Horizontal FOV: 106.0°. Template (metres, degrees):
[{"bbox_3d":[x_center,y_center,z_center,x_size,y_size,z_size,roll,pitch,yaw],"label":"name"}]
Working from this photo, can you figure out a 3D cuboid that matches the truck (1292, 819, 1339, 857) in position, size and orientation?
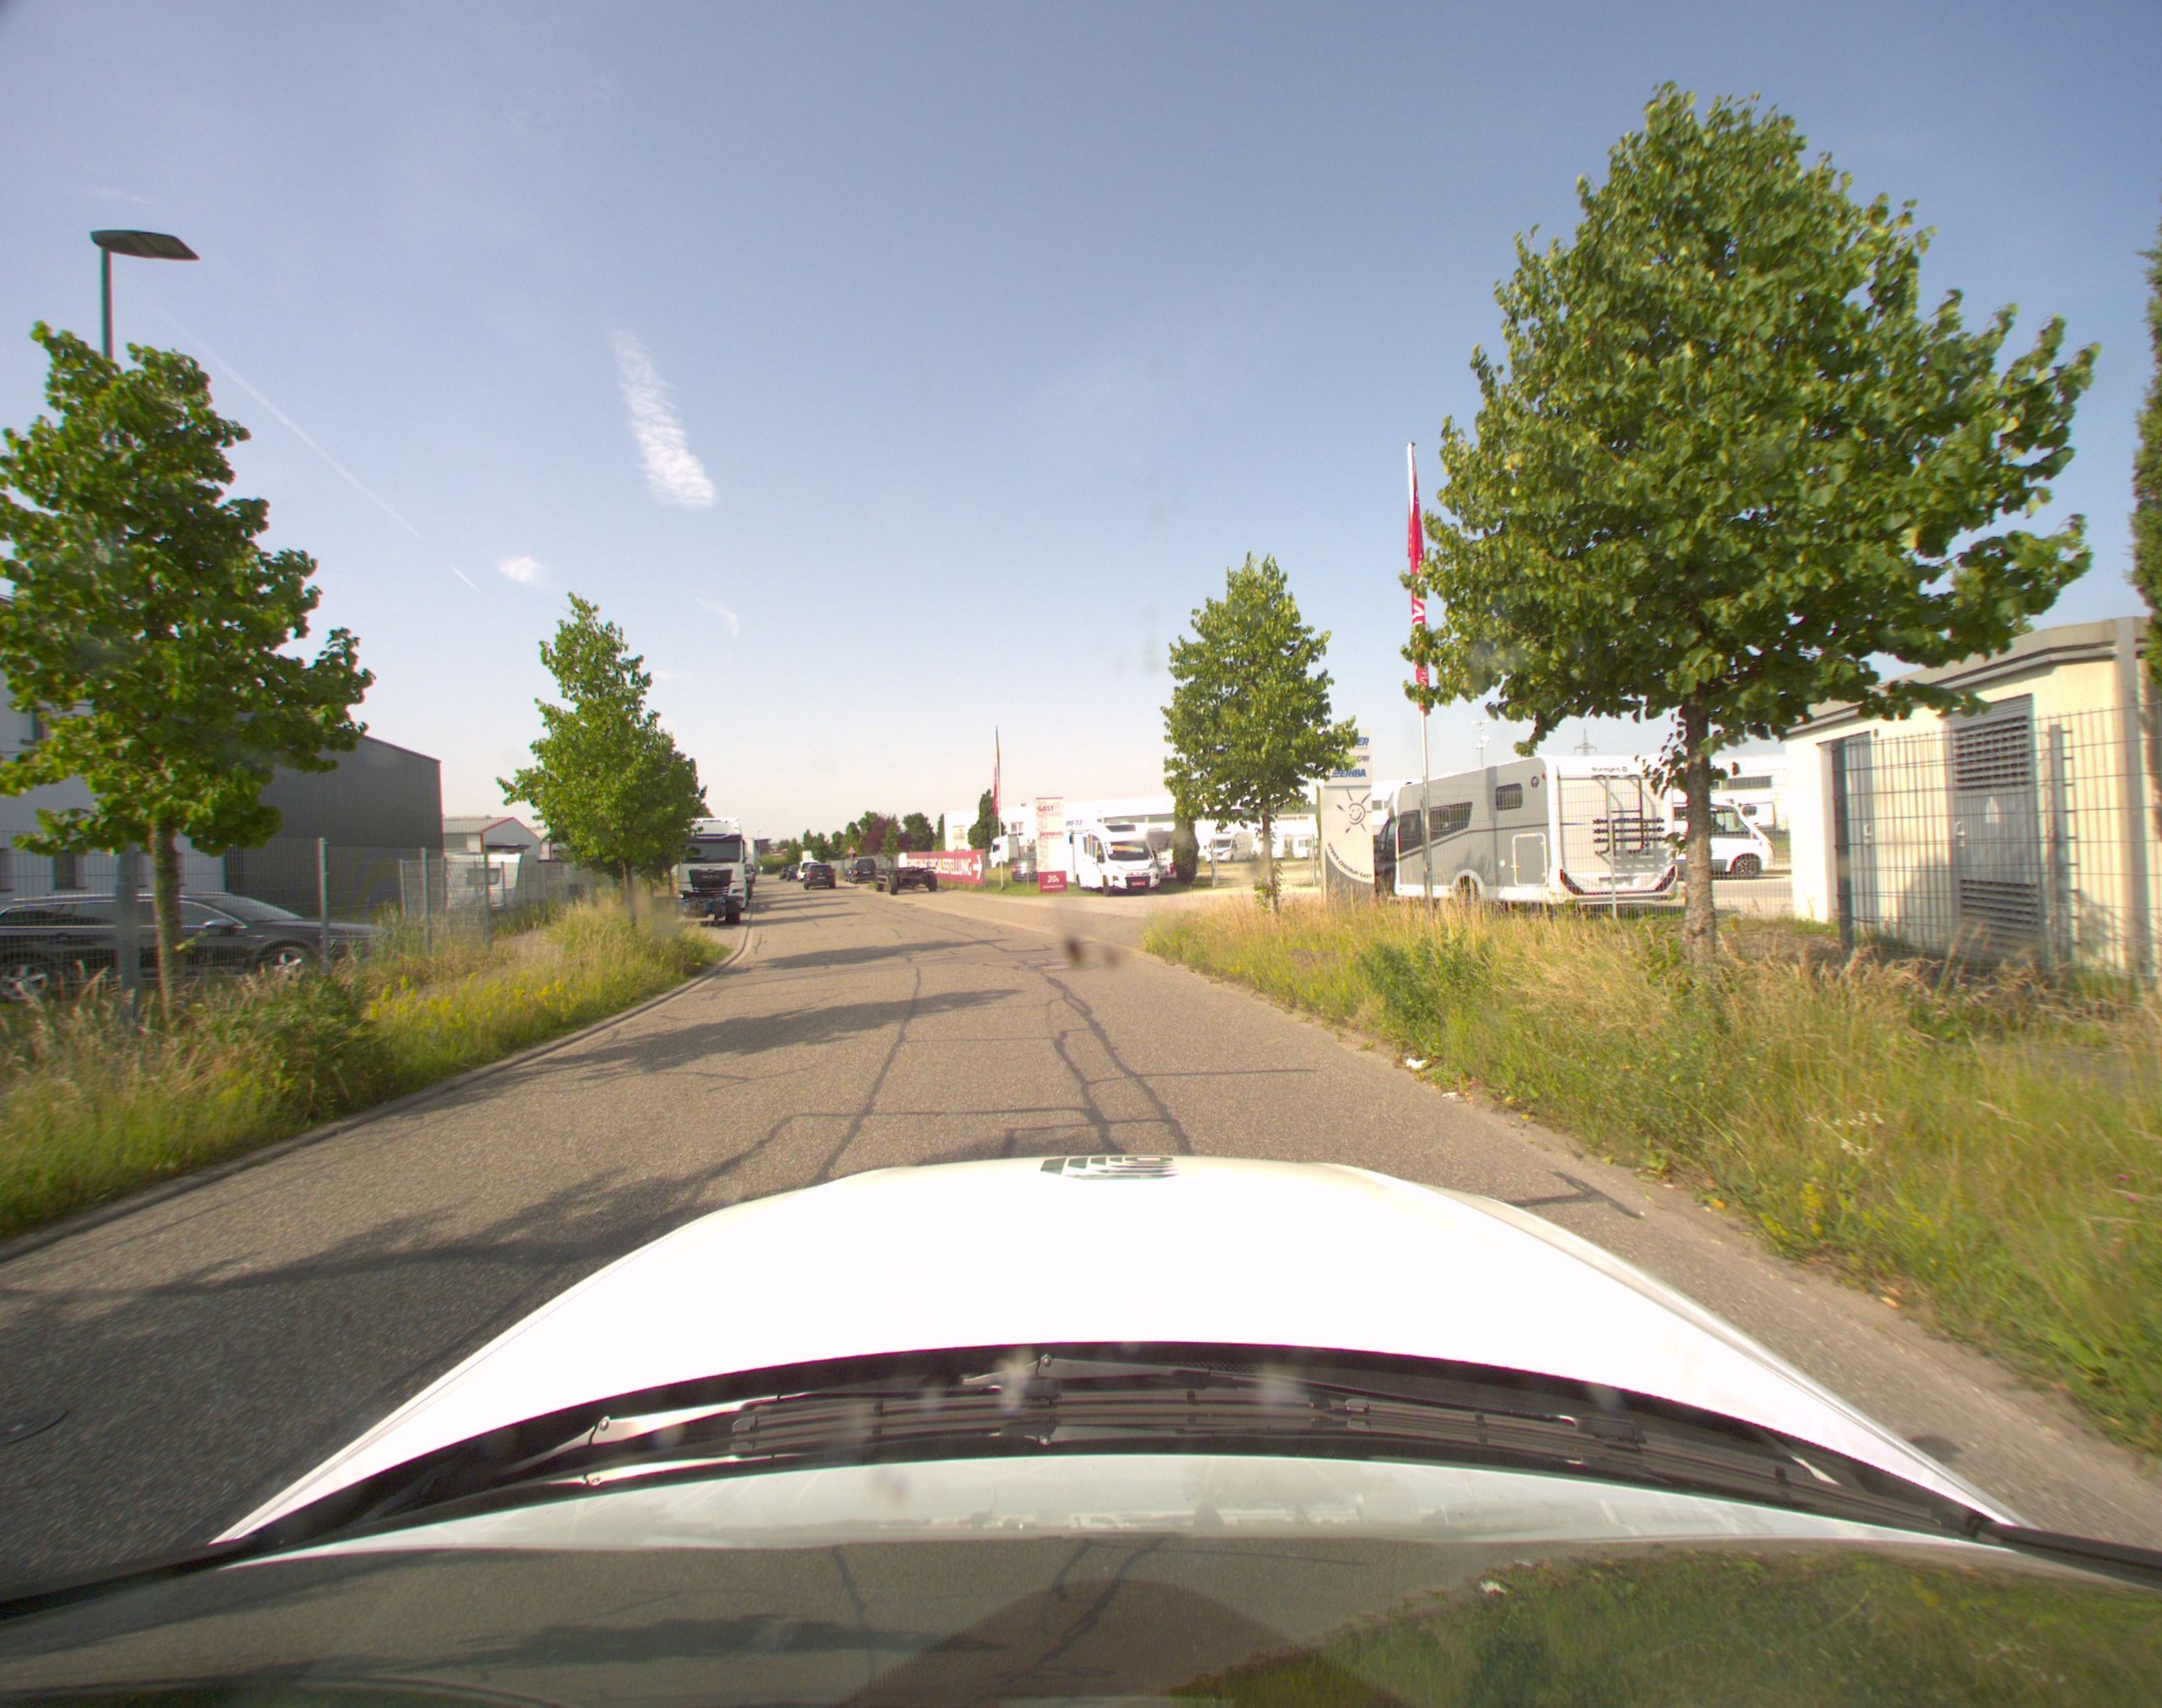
[{"bbox_3d":[19.235,-1.333,66.501,2.428,2.826,8.048,-2,1,24],"label":"truck"}]

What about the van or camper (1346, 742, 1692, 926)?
[{"bbox_3d":[8.204,-0.335,16.634,2.347,2.847,7.323,-2,0,-7],"label":"van or camper"}]

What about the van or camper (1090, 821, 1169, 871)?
[{"bbox_3d":[3.486,-0.648,55.848,2.773,3.084,8.015,-2,1,23],"label":"van or camper"}]

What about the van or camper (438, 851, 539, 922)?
[{"bbox_3d":[-24.163,1.275,33.449,2.317,2.560,4.913,-3,0,-25],"label":"van or camper"}]

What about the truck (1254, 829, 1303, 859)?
[{"bbox_3d":[16.555,-0.917,67.725,2.428,2.265,8.048,-2,1,24],"label":"truck"}]

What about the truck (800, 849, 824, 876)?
[{"bbox_3d":[-39.044,1.217,118.143,2.897,3.586,8.007,-4,1,-20],"label":"truck"}]

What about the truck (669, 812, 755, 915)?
[{"bbox_3d":[-16.821,0.420,37.880,2.635,3.929,12.829,-2,0,-20],"label":"truck"}]

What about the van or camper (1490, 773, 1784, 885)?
[{"bbox_3d":[17.258,-0.711,25.882,7.201,3.032,2.597,-3,0,17],"label":"van or camper"}]

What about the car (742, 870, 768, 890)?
[{"bbox_3d":[-26.260,2.067,65.683,1.817,1.427,3.972,-3,0,-20],"label":"car"}]

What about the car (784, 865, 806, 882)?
[{"bbox_3d":[-30.922,2.085,87.850,2.002,1.640,3.970,-3,0,-22],"label":"car"}]

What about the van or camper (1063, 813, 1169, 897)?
[{"bbox_3d":[1.207,0.018,33.031,2.334,2.943,6.938,-3,1,-14],"label":"van or camper"}]

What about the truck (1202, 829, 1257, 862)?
[{"bbox_3d":[12.260,-0.744,66.666,2.428,2.471,8.048,-2,1,24],"label":"truck"}]

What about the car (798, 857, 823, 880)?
[{"bbox_3d":[-24.153,1.268,72.784,1.999,1.899,4.441,-2,1,-17],"label":"car"}]

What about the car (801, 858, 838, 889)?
[{"bbox_3d":[-17.329,1.270,53.808,2.002,1.804,3.971,-3,1,-22],"label":"car"}]

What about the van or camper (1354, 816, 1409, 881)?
[{"bbox_3d":[13.222,-0.301,35.743,1.976,2.534,6.183,-3,0,21],"label":"van or camper"}]

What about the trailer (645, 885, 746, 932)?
[{"bbox_3d":[-12.244,1.675,26.241,2.585,1.100,5.162,-2,0,-22],"label":"trailer"}]

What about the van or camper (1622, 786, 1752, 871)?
[{"bbox_3d":[23.253,-0.917,31.649,2.300,2.864,6.645,-3,0,21],"label":"van or camper"}]

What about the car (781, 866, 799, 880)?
[{"bbox_3d":[-38.095,2.465,106.565,2.002,1.772,3.970,-3,0,-22],"label":"car"}]

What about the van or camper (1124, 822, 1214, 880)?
[{"bbox_3d":[4.489,-0.227,40.250,2.461,2.558,6.663,-2,1,23],"label":"van or camper"}]

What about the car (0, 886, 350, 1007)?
[{"bbox_3d":[-13.703,1.320,12.370,3.509,1.454,1.584,-2,0,-25],"label":"car"}]

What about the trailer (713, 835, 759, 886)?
[{"bbox_3d":[-32.942,0.660,78.151,3.417,4.340,13.819,-3,0,-21],"label":"trailer"}]

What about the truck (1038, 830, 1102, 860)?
[{"bbox_3d":[-0.850,-0.842,72.238,2.428,2.471,8.048,-2,1,24],"label":"truck"}]

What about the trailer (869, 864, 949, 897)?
[{"bbox_3d":[-9.571,1.335,44.367,2.634,1.388,9.385,-5,1,-22],"label":"trailer"}]

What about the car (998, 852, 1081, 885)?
[{"bbox_3d":[-2.125,0.752,42.672,2.144,1.476,4.026,-3,1,39],"label":"car"}]

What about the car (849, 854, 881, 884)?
[{"bbox_3d":[-16.148,1.106,60.823,1.825,1.978,3.973,-6,2,-20],"label":"car"}]

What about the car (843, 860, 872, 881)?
[{"bbox_3d":[-18.075,1.314,65.870,1.825,1.449,3.775,-6,2,-20],"label":"car"}]

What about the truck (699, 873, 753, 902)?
[{"bbox_3d":[-19.746,1.820,45.579,2.535,1.265,6.478,-3,1,-22],"label":"truck"}]

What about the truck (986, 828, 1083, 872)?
[{"bbox_3d":[-4.614,-0.411,80.829,9.204,3.972,2.472,-2,0,21],"label":"truck"}]
